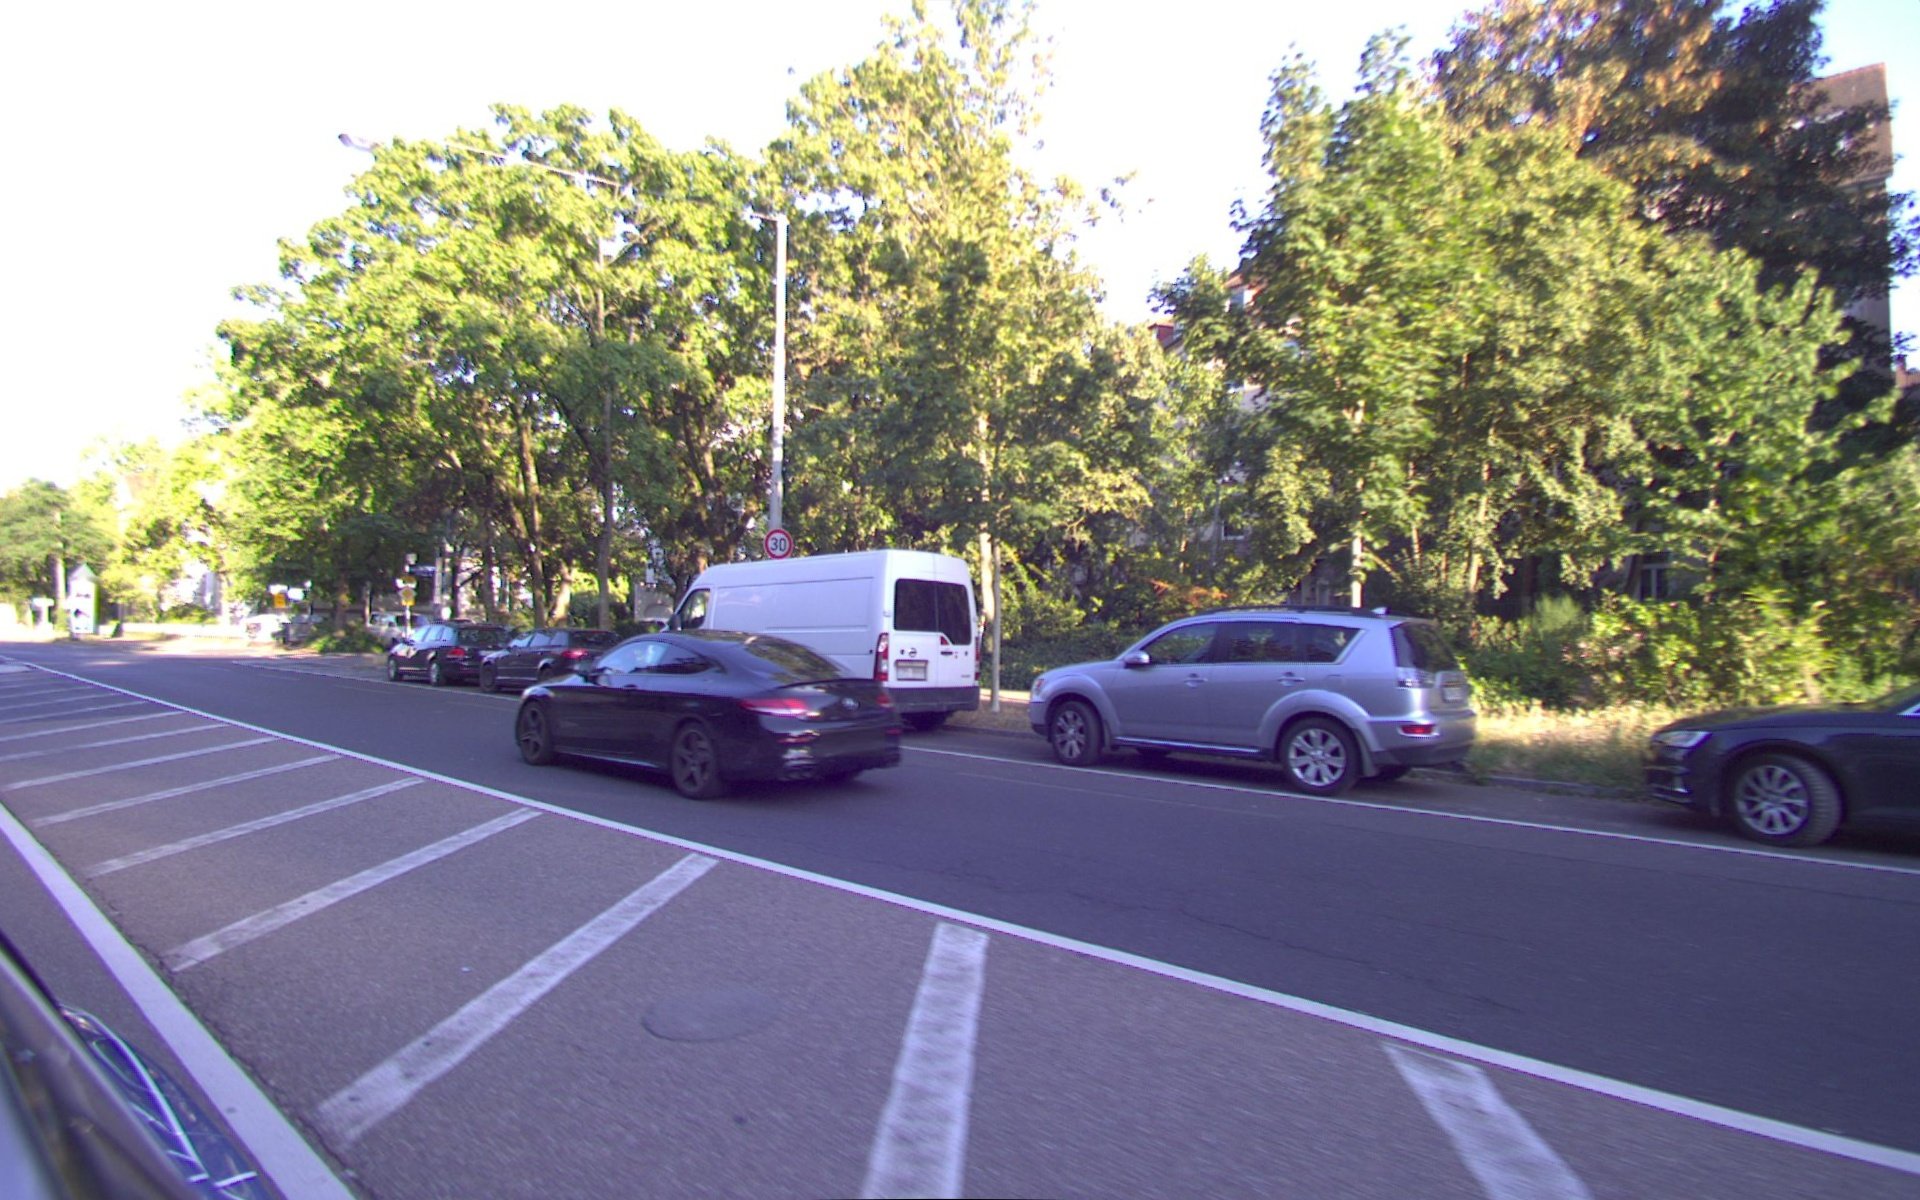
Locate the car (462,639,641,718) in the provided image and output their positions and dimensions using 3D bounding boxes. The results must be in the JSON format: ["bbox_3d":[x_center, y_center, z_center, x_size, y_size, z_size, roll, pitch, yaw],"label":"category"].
[{"bbox_3d":[-8.421,1.538,20.707,4.240,1.440,1.611,-1,-4,41],"label":"car"}]

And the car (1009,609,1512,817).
[{"bbox_3d":[2.862,0.974,10.308,4.569,1.657,1.846,-1,-3,41],"label":"car"}]

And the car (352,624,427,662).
[{"bbox_3d":[-28.328,2.110,50.228,3.994,1.809,1.801,-1,-2,37],"label":"car"}]

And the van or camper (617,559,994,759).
[{"bbox_3d":[-2.581,0.835,15.440,6.302,2.487,2.069,-1,-4,41],"label":"van or camper"}]

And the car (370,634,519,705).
[{"bbox_3d":[-12.406,1.593,24.226,4.542,1.518,1.606,-1,-3,42],"label":"car"}]

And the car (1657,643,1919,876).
[{"bbox_3d":[7.358,1.028,6.462,4.623,1.456,1.718,-1,-3,41],"label":"car"}]

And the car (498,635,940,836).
[{"bbox_3d":[-2.435,1.056,9.467,4.543,1.413,1.747,-1,-3,42],"label":"car"}]

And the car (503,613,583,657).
[{"bbox_3d":[-22.914,1.871,55.553,5.100,2.306,2.190,-1,-2,44],"label":"car"}]

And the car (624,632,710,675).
[{"bbox_3d":[-14.137,2.530,48.749,3.994,1.896,1.975,-1,-1,37],"label":"car"}]
